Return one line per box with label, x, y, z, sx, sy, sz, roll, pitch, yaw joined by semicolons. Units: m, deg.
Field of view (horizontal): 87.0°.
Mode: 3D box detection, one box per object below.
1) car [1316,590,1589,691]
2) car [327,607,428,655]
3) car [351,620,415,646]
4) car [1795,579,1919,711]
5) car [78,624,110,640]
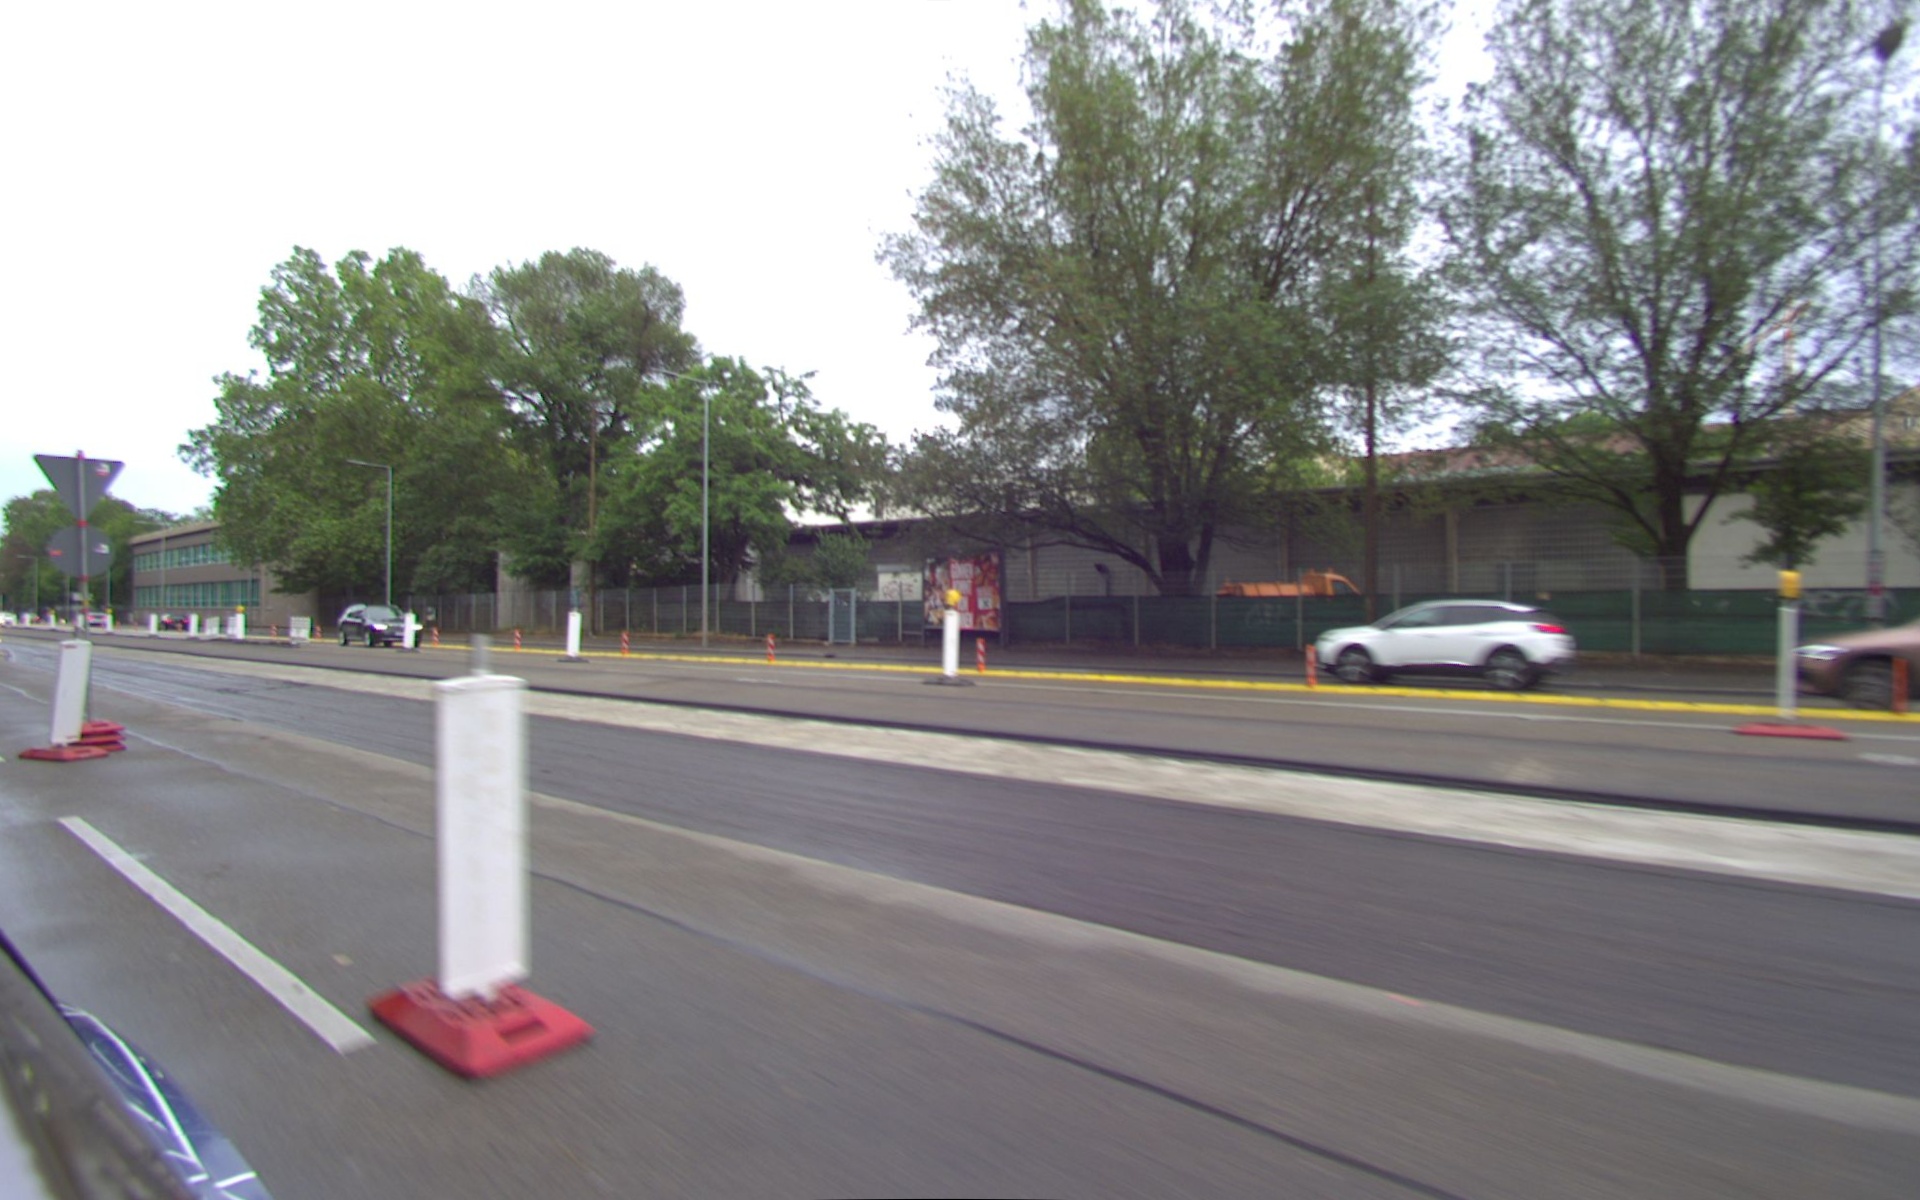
car;9.273;0.762;19.275;4.363;1.719;1.839;-1;-3;42
car;-22.870;1.252;39.632;4.983;1.719;1.972;-3;-5;43
car;-31.333;1.777;54.901;4.453;1.325;1.649;-1;-3;42
car;13.239;0.583;12.564;4.363;1.631;1.839;-1;-3;42
car;-83.506;3.075;97.555;4.146;1.445;1.817;-1;-1;41
